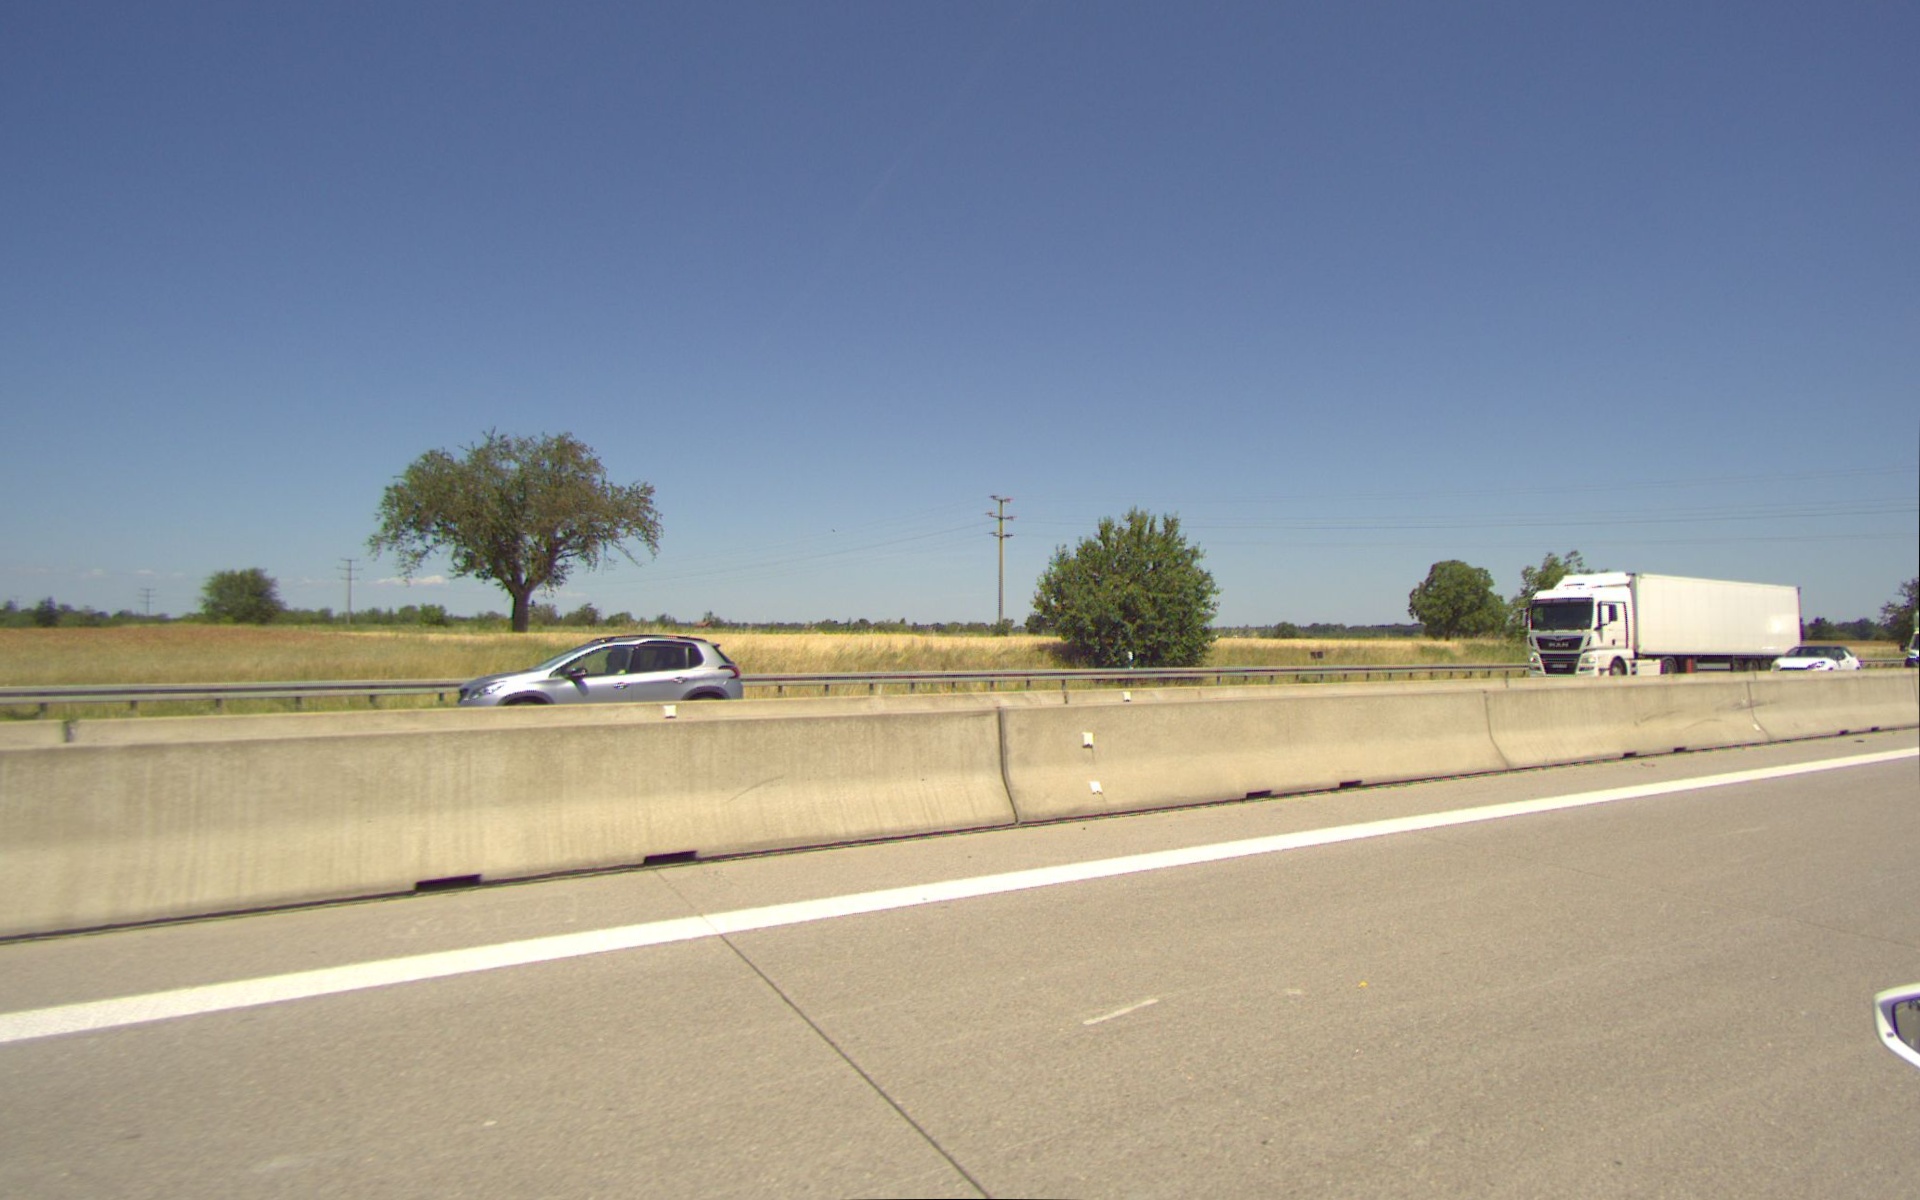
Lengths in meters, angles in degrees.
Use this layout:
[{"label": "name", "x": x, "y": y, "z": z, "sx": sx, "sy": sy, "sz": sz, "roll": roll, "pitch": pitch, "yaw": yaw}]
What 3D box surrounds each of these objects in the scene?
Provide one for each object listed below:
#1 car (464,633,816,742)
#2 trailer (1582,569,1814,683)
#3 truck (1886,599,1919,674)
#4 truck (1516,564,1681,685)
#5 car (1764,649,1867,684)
[{"label": "car", "x": -4.781, "y": 1.243, "z": 15.293, "sx": 4.850, "sy": 1.391, "sz": 1.726, "roll": 2, "pitch": 0, "yaw": -31}, {"label": "trailer", "x": 30.189, "y": 1.092, "z": 40.796, "sx": 12.528, "sy": 4.098, "sz": 2.806, "roll": 2, "pitch": 0, "yaw": -30}, {"label": "truck", "x": 44.315, "y": 1.667, "z": 44.673, "sx": 7.832, "sy": 3.183, "sz": 2.534, "roll": 2, "pitch": -1, "yaw": -31}, {"label": "truck", "x": 23.405, "y": 0.891, "z": 36.779, "sx": 5.611, "sy": 4.098, "sz": 2.805, "roll": 2, "pitch": 0, "yaw": -30}, {"label": "car", "x": 31.364, "y": 2.418, "z": 36.804, "sx": 4.349, "sy": 1.162, "sz": 1.671, "roll": 2, "pitch": -1, "yaw": -32}]
